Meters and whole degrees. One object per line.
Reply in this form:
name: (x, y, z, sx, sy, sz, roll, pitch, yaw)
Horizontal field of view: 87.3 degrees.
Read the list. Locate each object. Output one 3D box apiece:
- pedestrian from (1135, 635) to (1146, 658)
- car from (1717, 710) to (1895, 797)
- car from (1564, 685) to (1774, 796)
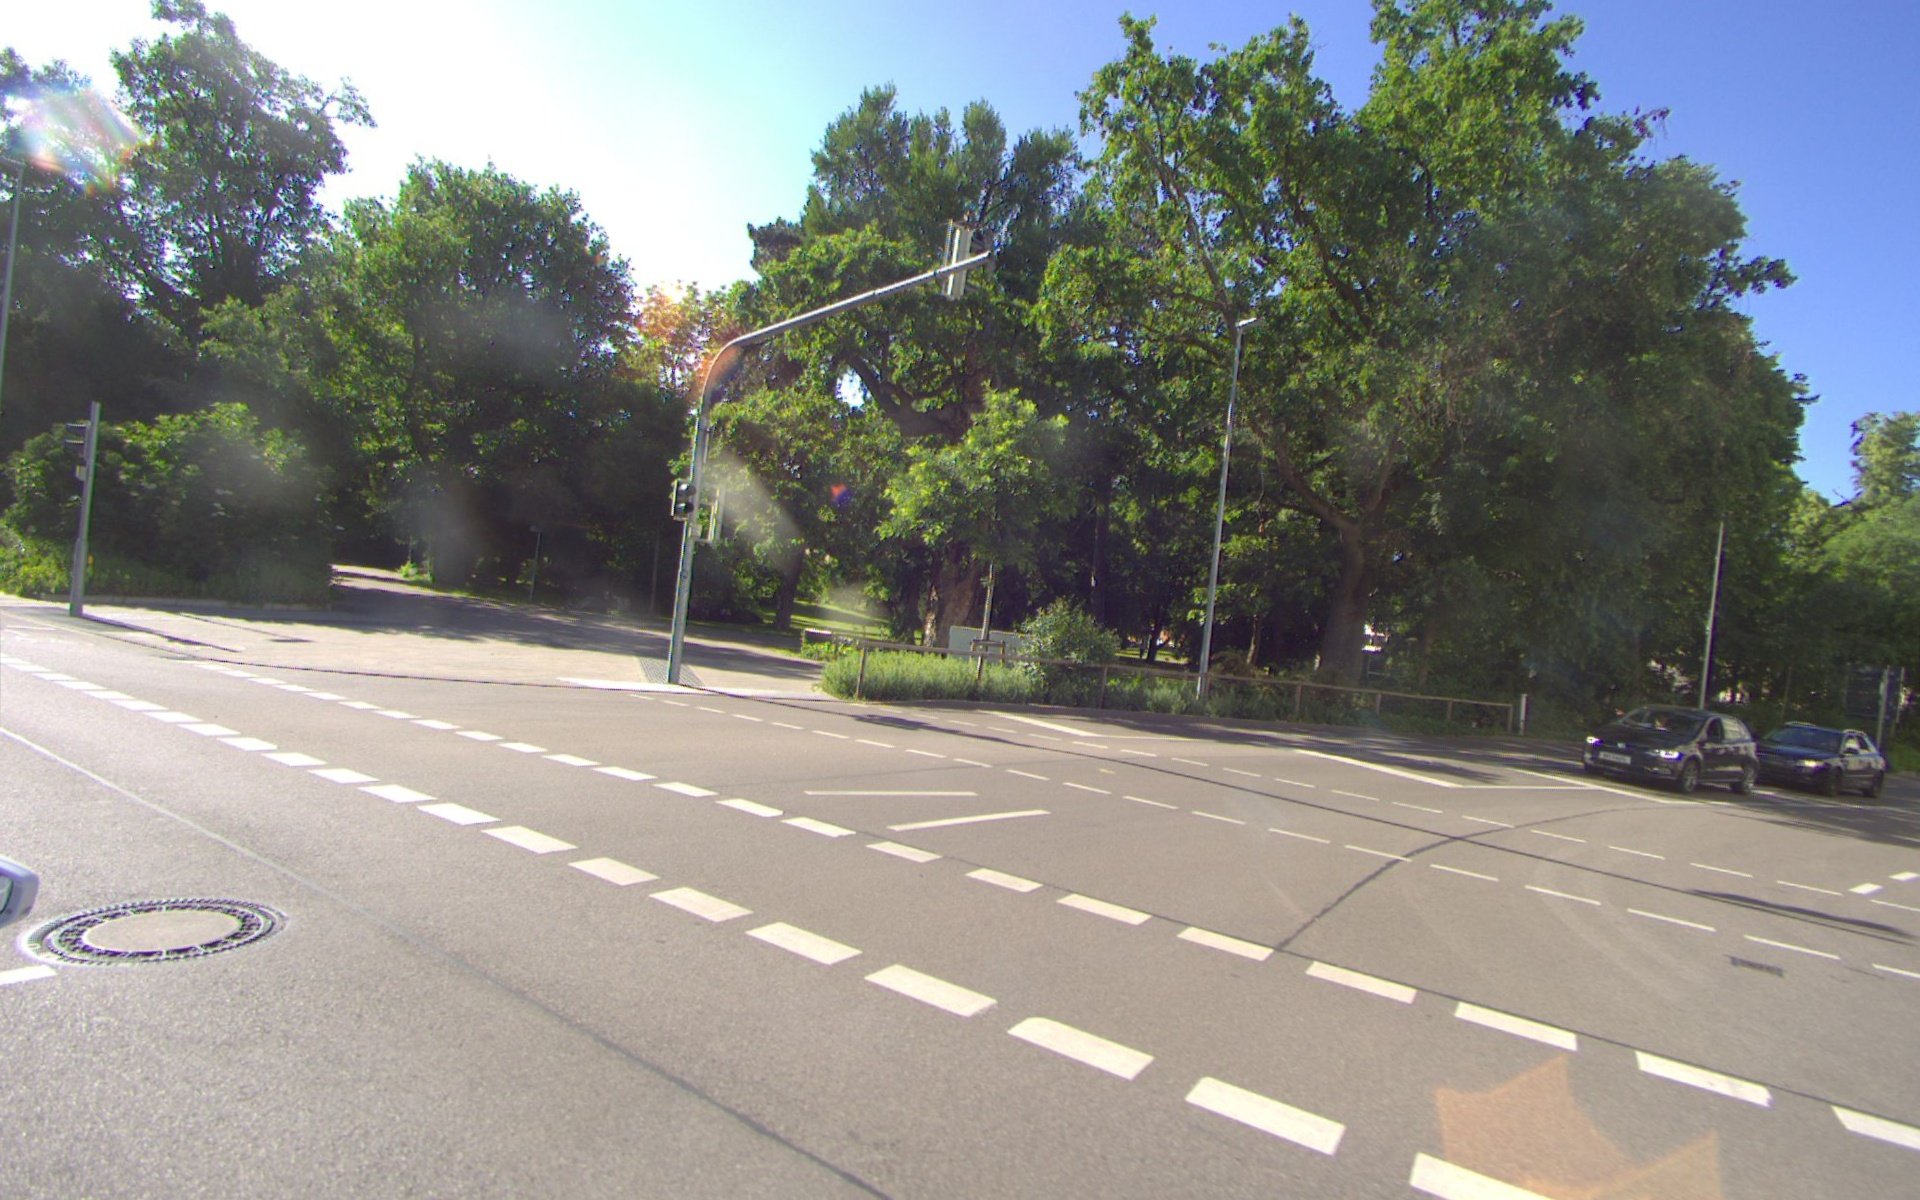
pedestrian: (16.119, 4.165, 89.953, 0.567, 2.037, 0.612, 7, -1, -20)
car: (18.824, 3.422, 22.350, 3.961, 1.456, 1.843, 8, 1, -33)
car: (13.069, 2.608, 18.497, 3.963, 1.500, 1.716, 8, 1, -34)
